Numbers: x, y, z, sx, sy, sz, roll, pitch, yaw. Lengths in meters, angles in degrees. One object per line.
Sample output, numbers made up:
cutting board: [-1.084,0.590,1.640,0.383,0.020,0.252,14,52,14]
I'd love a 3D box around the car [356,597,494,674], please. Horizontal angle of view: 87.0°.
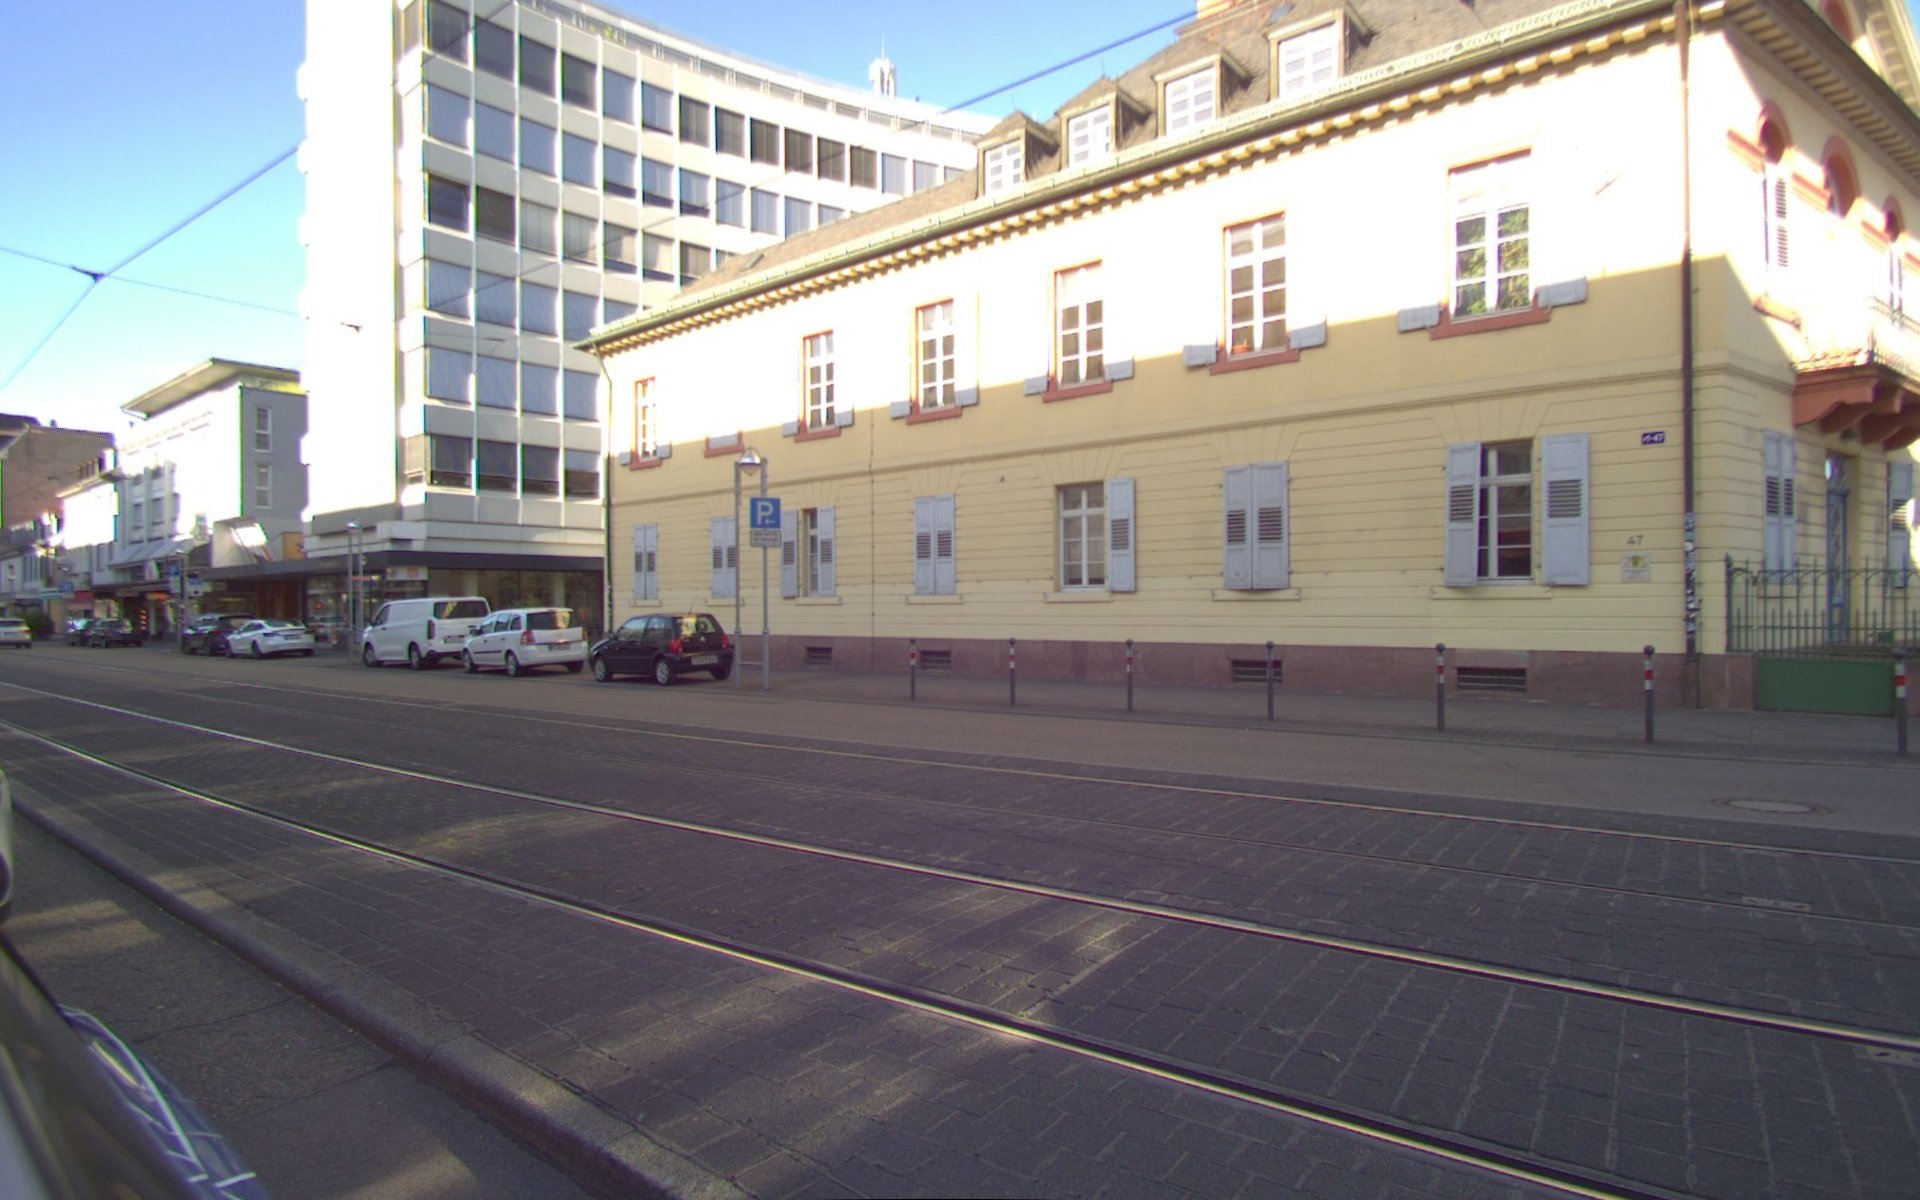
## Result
car: [-15.356,0.971,28.948,4.619,2.029,2.014,-1,-1,41]

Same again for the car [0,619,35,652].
car: [-48.955,1.822,51.802,3.994,1.609,1.739,-1,-1,38]

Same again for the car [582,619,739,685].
car: [-6.387,1.049,21.485,3.210,1.263,1.667,-1,0,39]

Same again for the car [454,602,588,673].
car: [-11.034,0.892,25.339,4.005,1.621,1.619,-1,0,43]

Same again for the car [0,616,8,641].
car: [-78.655,2.293,81.733,3.995,2.029,1.974,-1,0,38]

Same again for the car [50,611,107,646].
car: [-50.348,1.607,57.784,3.994,1.896,1.768,-1,-1,38]

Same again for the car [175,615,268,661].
car: [-29.913,1.492,40.962,4.103,1.717,1.975,-1,0,38]

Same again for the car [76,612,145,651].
car: [-43.886,1.595,52.248,3.995,1.874,1.974,-1,0,38]

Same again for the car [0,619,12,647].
car: [-71.639,2.424,74.733,3.998,2.029,1.973,-1,-1,41]

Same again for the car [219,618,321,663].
car: [-25.655,1.446,37.604,4.369,1.541,1.974,-1,0,39]

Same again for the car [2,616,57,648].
car: [-62.797,2.164,68.273,3.996,2.058,2.172,-1,-1,39]

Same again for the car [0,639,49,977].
car: [-6.066,0.902,4.777,3.992,1.393,1.862,-1,0,36]
